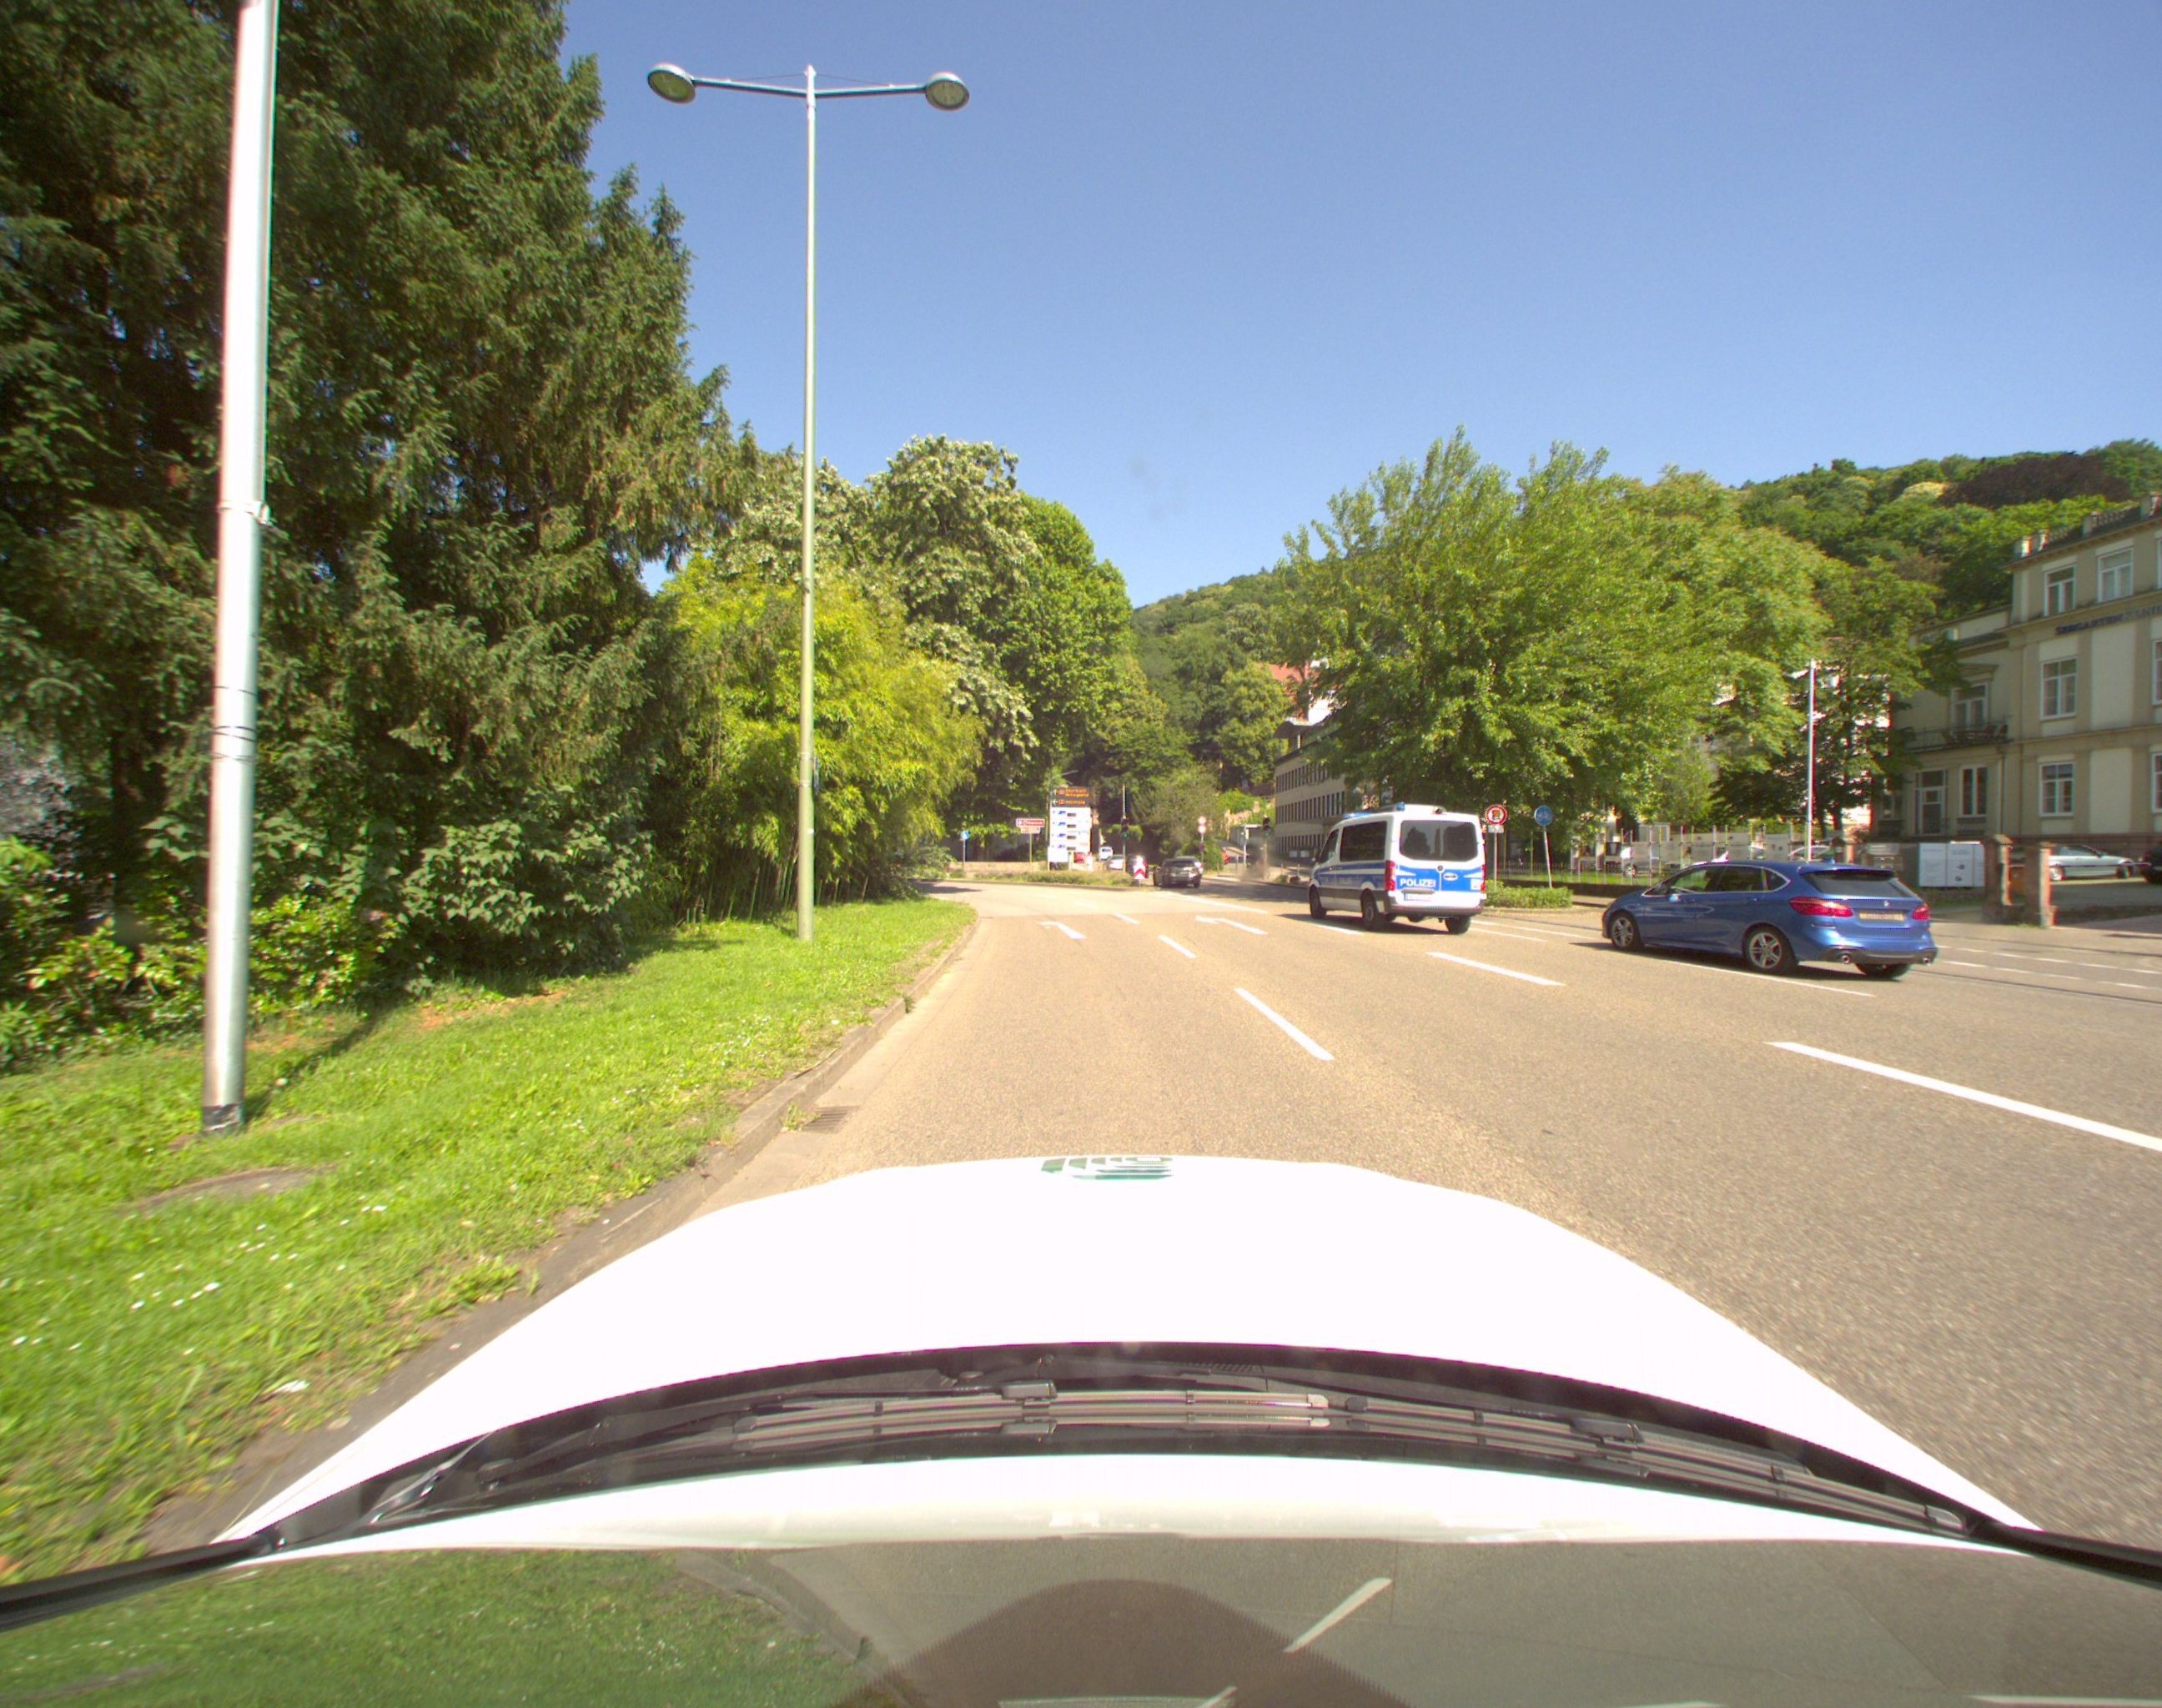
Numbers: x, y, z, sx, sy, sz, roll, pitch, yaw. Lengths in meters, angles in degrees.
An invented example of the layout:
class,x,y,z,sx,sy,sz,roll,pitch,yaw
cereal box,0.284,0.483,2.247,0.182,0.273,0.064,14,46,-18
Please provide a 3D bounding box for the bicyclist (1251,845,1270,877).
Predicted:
class,x,y,z,sx,sy,sz,roll,pitch,yaw
bicyclist,11.169,0.438,50.711,1.119,1.932,0.750,0,-1,11

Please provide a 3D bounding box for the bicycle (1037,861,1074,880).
class,x,y,z,sx,sy,sz,roll,pitch,yaw
bicycle,-1.516,0.968,48.894,2.058,1.112,0.761,0,0,23

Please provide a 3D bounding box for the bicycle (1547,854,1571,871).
class,x,y,z,sx,sy,sz,roll,pitch,yaw
bicycle,31.657,0.536,53.998,0.535,1.085,1.835,0,0,0

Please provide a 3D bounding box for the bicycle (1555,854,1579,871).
class,x,y,z,sx,sy,sz,roll,pitch,yaw
bicycle,32.256,0.534,54.072,0.535,1.085,1.835,0,0,0

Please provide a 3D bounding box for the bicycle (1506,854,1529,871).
class,x,y,z,sx,sy,sz,roll,pitch,yaw
bicycle,28.658,0.550,53.528,0.535,1.085,1.835,0,0,0

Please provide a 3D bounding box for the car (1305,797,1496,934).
class,x,y,z,sx,sy,sz,roll,pitch,yaw
car,6.593,0.232,17.532,2.068,2.508,4.925,1,0,-2

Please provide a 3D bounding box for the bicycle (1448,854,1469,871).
class,x,y,z,sx,sy,sz,roll,pitch,yaw
bicycle,24.940,0.571,53.777,0.535,1.085,1.835,0,0,0

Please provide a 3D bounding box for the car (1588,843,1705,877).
class,x,y,z,sx,sy,sz,roll,pitch,yaw
car,25.235,0.244,36.409,4.138,1.476,1.874,0,0,-7

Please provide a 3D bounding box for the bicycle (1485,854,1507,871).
class,x,y,z,sx,sy,sz,roll,pitch,yaw
bicycle,27.343,0.558,53.694,0.535,1.085,1.835,0,0,0

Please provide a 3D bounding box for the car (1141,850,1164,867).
class,x,y,z,sx,sy,sz,roll,pitch,yaw
car,6.546,0.391,74.939,1.751,1.461,3.643,1,0,-2

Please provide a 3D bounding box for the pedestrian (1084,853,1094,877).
class,x,y,z,sx,sy,sz,roll,pitch,yaw
pedestrian,0.547,0.720,54.646,0.544,1.621,0.635,0,0,8

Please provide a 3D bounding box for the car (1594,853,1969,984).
class,x,y,z,sx,sy,sz,roll,pitch,yaw
car,9.911,0.788,12.071,1.715,1.541,4.266,1,0,-4

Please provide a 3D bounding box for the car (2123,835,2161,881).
class,x,y,z,sx,sy,sz,roll,pitch,yaw
car,37.278,0.119,26.751,4.041,1.509,1.863,0,0,-4

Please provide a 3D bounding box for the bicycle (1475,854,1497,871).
class,x,y,z,sx,sy,sz,roll,pitch,yaw
bicycle,26.761,0.562,53.880,0.535,1.085,1.835,0,0,0

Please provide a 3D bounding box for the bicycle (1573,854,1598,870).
class,x,y,z,sx,sy,sz,roll,pitch,yaw
bicycle,33.493,0.527,54.070,0.535,1.085,1.835,0,0,0

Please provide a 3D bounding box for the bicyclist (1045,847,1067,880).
class,x,y,z,sx,sy,sz,roll,pitch,yaw
bicyclist,-1.494,0.552,48.876,1.116,1.932,0.752,0,-1,23

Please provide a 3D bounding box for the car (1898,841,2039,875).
class,x,y,z,sx,sy,sz,roll,pitch,yaw
car,36.283,0.159,33.349,4.068,1.336,1.819,0,0,-4

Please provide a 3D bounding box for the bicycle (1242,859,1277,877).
class,x,y,z,sx,sy,sz,roll,pitch,yaw
bicycle,11.112,0.852,50.721,2.063,1.112,0.759,0,0,10

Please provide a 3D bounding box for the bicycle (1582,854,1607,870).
class,x,y,z,sx,sy,sz,roll,pitch,yaw
bicycle,34.076,0.524,54.078,0.535,1.085,1.835,0,0,0

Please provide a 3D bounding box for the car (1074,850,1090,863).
class,x,y,z,sx,sy,sz,roll,pitch,yaw
car,0.105,0.244,93.851,1.751,1.461,3.491,1,0,-2

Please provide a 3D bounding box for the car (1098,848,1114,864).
class,x,y,z,sx,sy,sz,roll,pitch,yaw
car,3.041,0.209,98.897,1.751,1.938,3.491,1,0,-2

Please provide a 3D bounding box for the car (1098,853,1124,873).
class,x,y,z,sx,sy,sz,roll,pitch,yaw
car,2.318,0.705,63.370,1.751,1.461,3.643,1,0,-2

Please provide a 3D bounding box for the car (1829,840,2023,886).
class,x,y,z,sx,sy,sz,roll,pitch,yaw
car,25.442,0.247,24.620,4.032,1.336,1.989,0,0,-4

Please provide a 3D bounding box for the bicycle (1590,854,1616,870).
class,x,y,z,sx,sy,sz,roll,pitch,yaw
bicycle,34.645,0.521,54.068,0.535,1.085,1.835,0,0,0

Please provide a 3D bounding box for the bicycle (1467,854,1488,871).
class,x,y,z,sx,sy,sz,roll,pitch,yaw
bicycle,26.182,0.565,53.826,0.535,1.085,1.835,0,0,0

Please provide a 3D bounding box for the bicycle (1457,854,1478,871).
class,x,y,z,sx,sy,sz,roll,pitch,yaw
bicycle,25.537,0.568,53.803,0.535,1.085,1.835,0,0,0

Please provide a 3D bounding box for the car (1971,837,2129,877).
class,x,y,z,sx,sy,sz,roll,pitch,yaw
car,36.151,0.105,30.439,4.041,1.419,1.819,0,0,-4

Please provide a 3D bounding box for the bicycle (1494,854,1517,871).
class,x,y,z,sx,sy,sz,roll,pitch,yaw
bicycle,27.988,0.554,53.709,0.535,1.085,1.835,0,0,0

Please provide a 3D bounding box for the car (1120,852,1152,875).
class,x,y,z,sx,sy,sz,roll,pitch,yaw
car,3.641,0.623,54.204,1.751,1.461,3.491,1,0,-2

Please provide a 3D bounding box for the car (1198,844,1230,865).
class,x,y,z,sx,sy,sz,roll,pitch,yaw
car,11.139,0.026,68.489,1.926,1.697,3.997,0,0,-2

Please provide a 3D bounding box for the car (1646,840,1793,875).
class,x,y,z,sx,sy,sz,roll,pitch,yaw
car,24.715,0.126,31.613,4.457,1.336,1.819,0,0,-4

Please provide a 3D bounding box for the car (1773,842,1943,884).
class,x,y,z,sx,sy,sz,roll,pitch,yaw
car,25.634,0.291,26.953,4.032,1.336,1.858,0,0,-4

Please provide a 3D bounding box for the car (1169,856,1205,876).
class,x,y,z,sx,sy,sz,roll,pitch,yaw
car,6.819,0.737,52.522,1.751,1.213,3.491,1,0,-2

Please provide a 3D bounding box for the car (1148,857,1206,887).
class,x,y,z,sx,sy,sz,roll,pitch,yaw
car,4.678,0.863,40.216,1.757,1.334,3.786,1,0,-12
